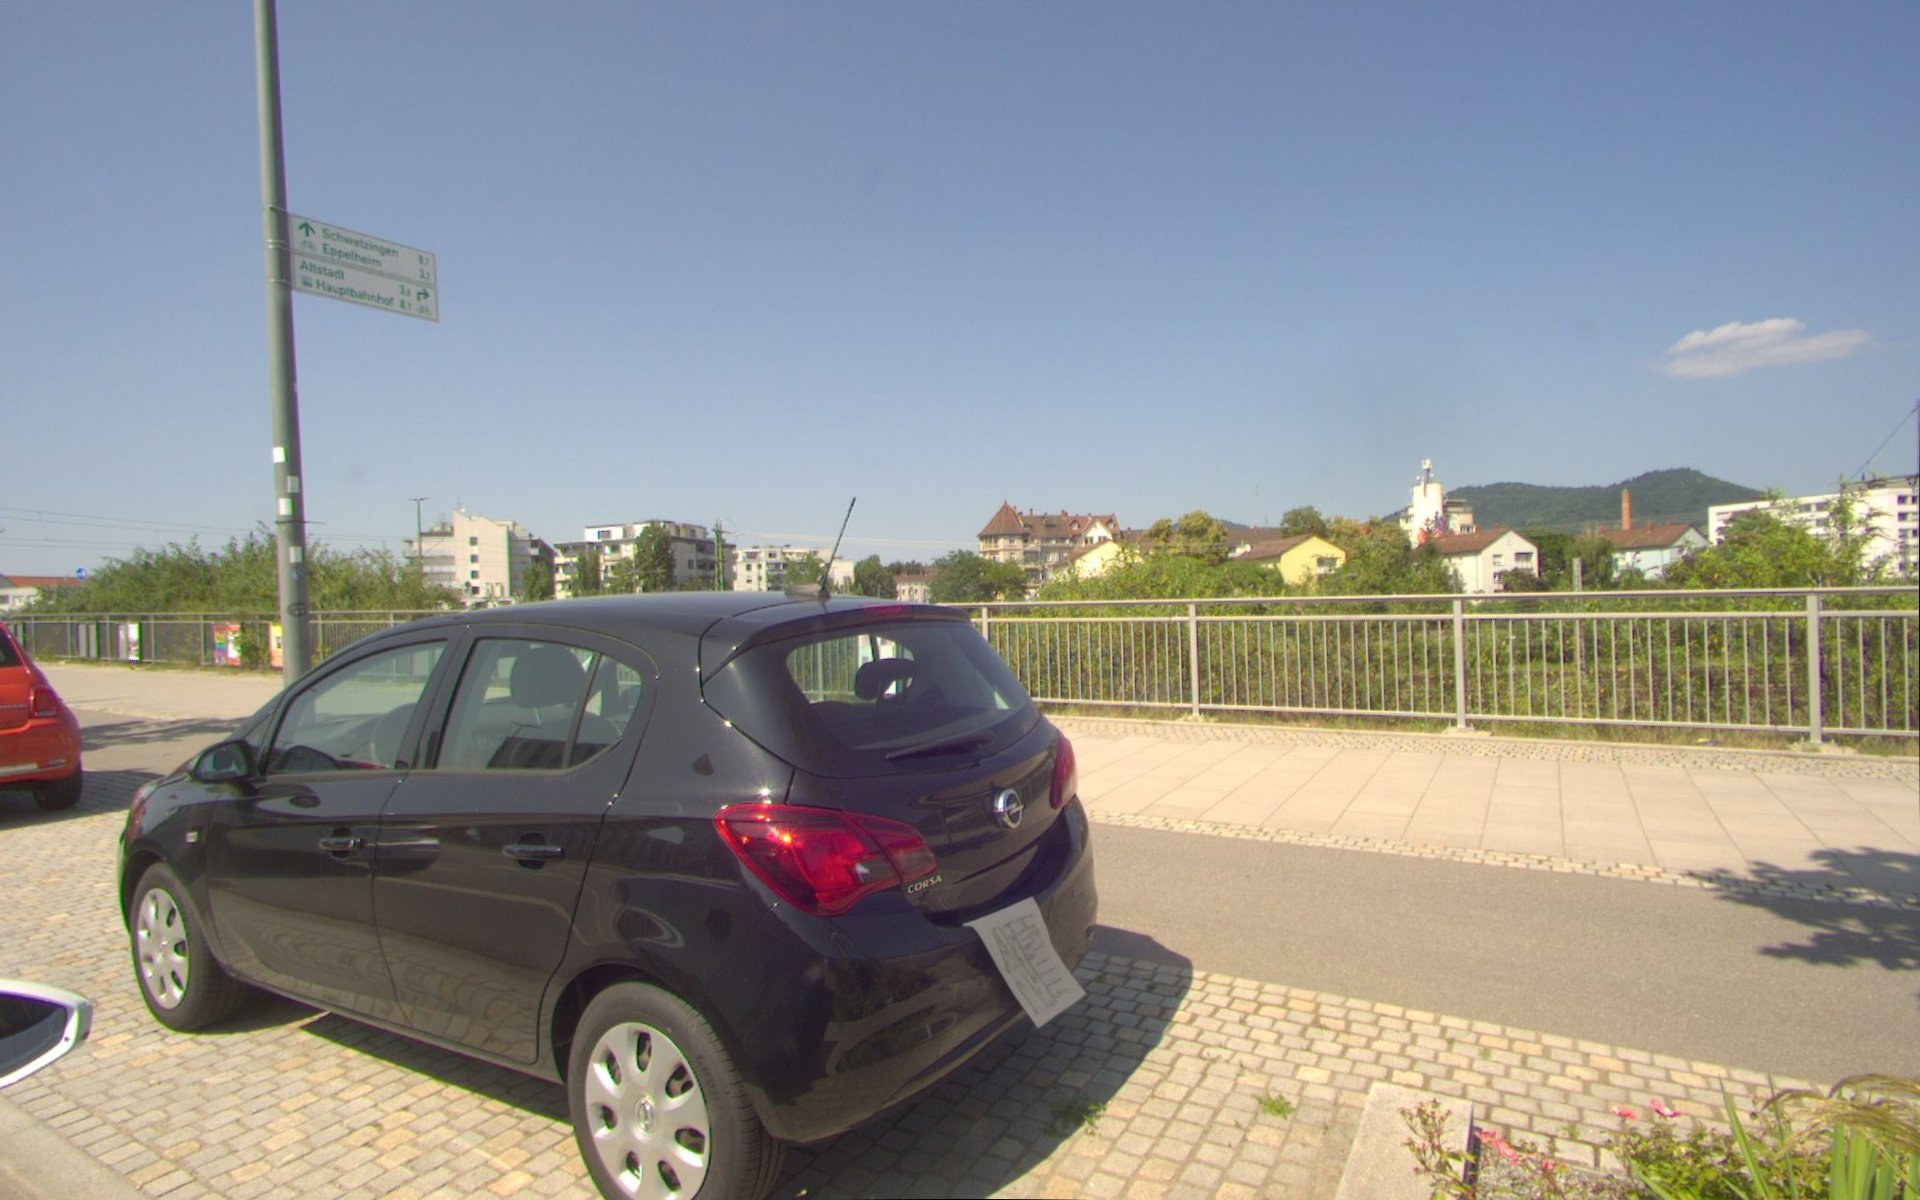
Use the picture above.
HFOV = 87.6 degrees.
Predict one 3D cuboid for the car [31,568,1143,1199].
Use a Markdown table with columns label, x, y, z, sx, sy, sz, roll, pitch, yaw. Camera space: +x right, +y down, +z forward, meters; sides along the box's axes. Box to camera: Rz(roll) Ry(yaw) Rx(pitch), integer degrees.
| label | x | y | z | sx | sy | sz | roll | pitch | yaw |
| --- | --- | --- | --- | --- | --- | --- | --- | --- | --- |
| car | -1.522 | 0.690 | 3.595 | 3.943 | 1.446 | 1.656 | -1 | 2 | 32 |

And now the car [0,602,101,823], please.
| label | x | y | z | sx | sy | sz | roll | pitch | yaw |
| --- | --- | --- | --- | --- | --- | --- | --- | --- | --- |
| car | -8.154 | 0.808 | 7.597 | 3.306 | 1.517 | 1.605 | -1 | 2 | 34 |
